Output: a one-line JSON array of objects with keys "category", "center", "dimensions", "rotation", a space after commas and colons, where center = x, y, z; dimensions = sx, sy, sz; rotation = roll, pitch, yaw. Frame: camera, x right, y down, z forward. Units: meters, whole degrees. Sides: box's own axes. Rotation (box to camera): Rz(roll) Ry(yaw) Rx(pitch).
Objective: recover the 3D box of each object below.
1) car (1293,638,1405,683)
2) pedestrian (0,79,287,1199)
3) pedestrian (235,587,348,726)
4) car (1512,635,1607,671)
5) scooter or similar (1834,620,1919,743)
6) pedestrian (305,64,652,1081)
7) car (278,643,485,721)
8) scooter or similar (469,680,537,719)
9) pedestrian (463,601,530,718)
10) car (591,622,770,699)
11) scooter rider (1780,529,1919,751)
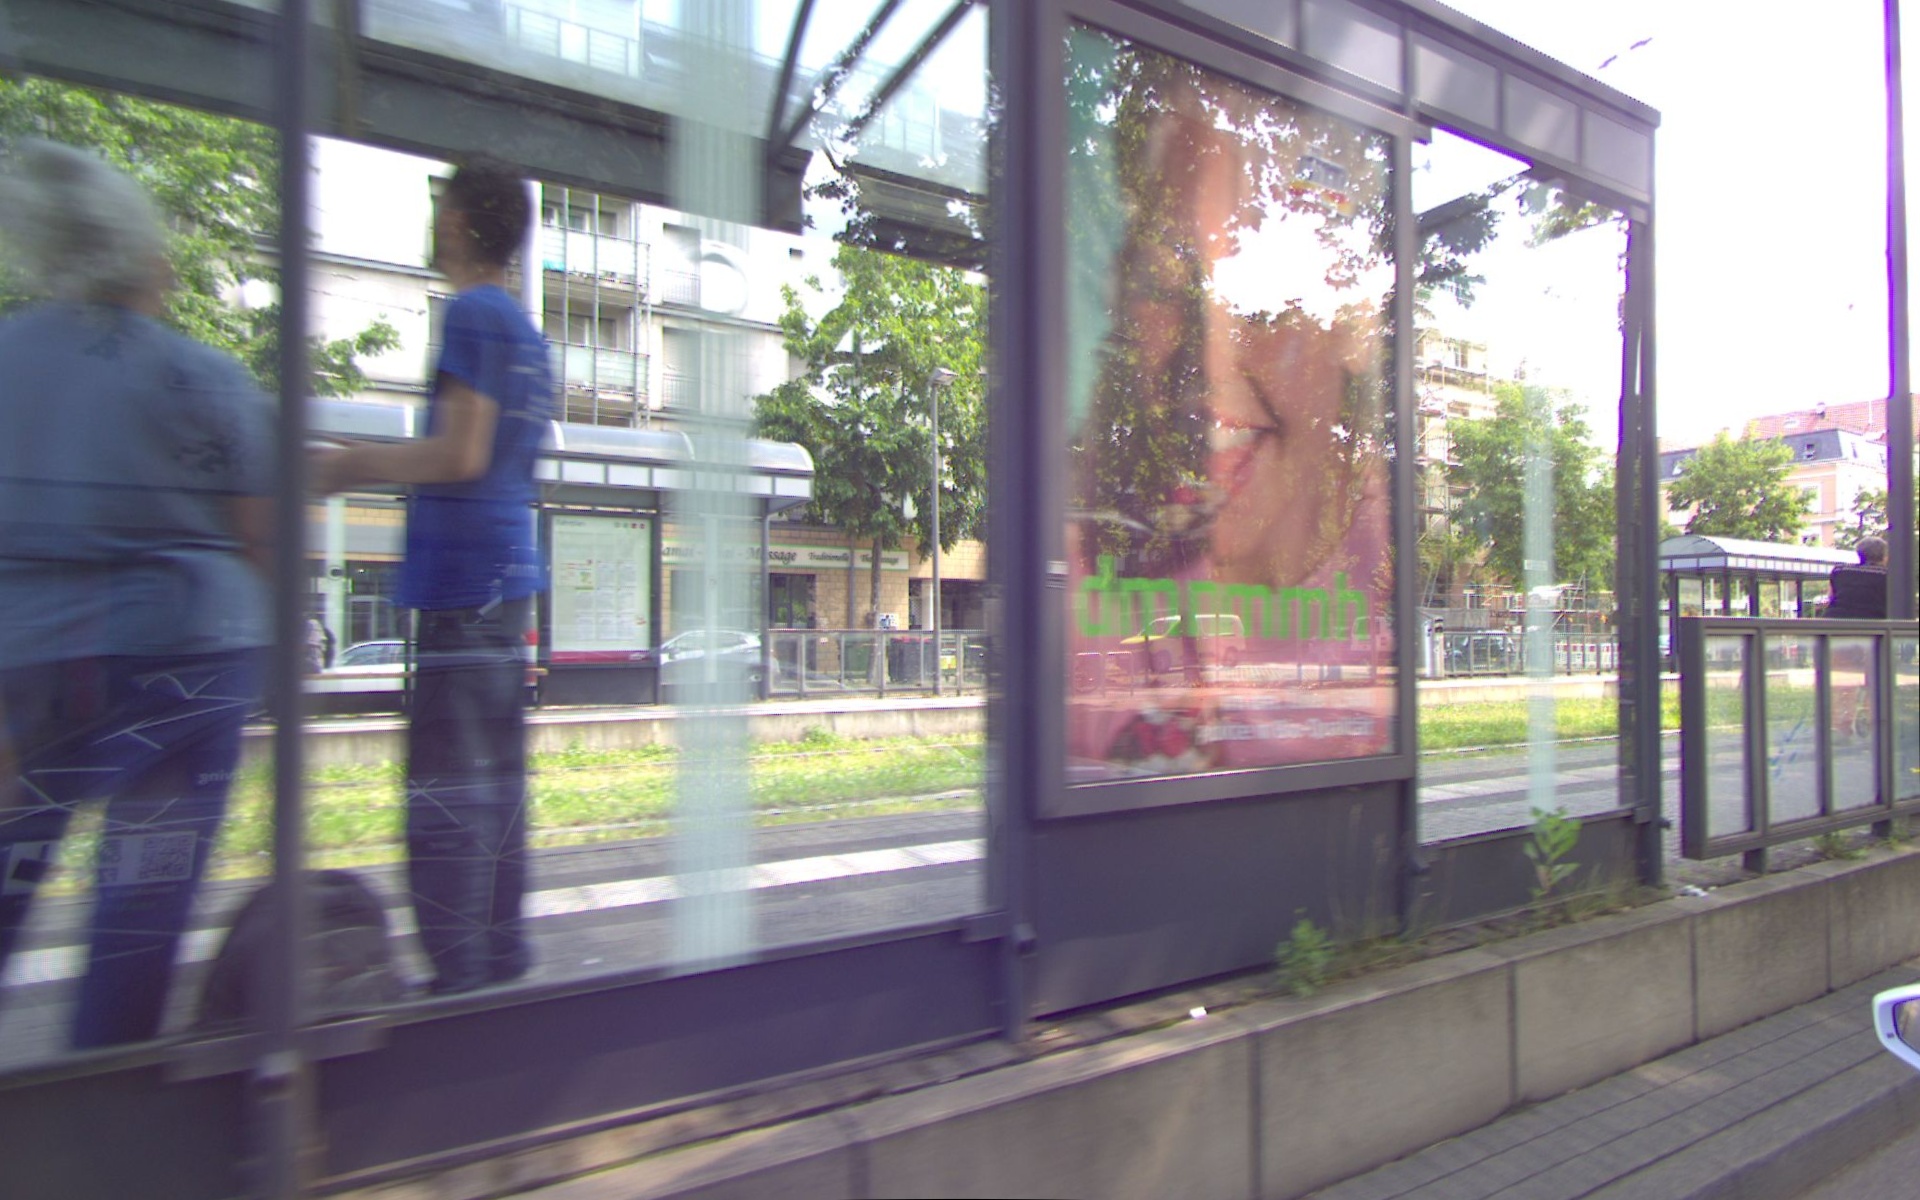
[{"category": "car", "center": [12.900, 1.972, 33.296], "dimensions": [3.435, 1.389, 1.712], "rotation": [1, -2, -30]}, {"category": "pedestrian", "center": [-1.443, 0.099, 1.628], "dimensions": [0.531, 1.663, 0.468], "rotation": [1, -2, -30]}, {"category": "pedestrian", "center": [-6.692, 0.567, 10.111], "dimensions": [0.868, 1.318, 0.826], "rotation": [1, -3, -30]}, {"category": "car", "center": [24.063, 2.106, 40.306], "dimensions": [3.660, 1.389, 1.712], "rotation": [1, -2, -30]}, {"category": "scooter or similar", "center": [7.649, 0.651, 8.223], "dimensions": [0.416, 0.968, 0.629], "rotation": [1, -2, -30]}, {"category": "pedestrian", "center": [-1.064, -0.053, 2.256], "dimensions": [0.464, 1.925, 0.535], "rotation": [-1, -2, 36]}, {"category": "car", "center": [-11.433, 1.577, 20.051], "dimensions": [3.435, 1.389, 1.712], "rotation": [1, -2, -30]}, {"category": "scooter or similar", "center": [-4.768, 1.036, 10.483], "dimensions": [0.611, 0.371, 0.407], "rotation": [1, -3, -30]}, {"category": "pedestrian", "center": [-5.096, 0.647, 11.042], "dimensions": [0.611, 1.229, 0.661], "rotation": [1, -3, -30]}, {"category": "car", "center": [-6.367, 1.334, 22.915], "dimensions": [3.647, 1.630, 1.712], "rotation": [1, -2, -30]}, {"category": "scooter rider", "center": [7.066, 0.307, 7.906], "dimensions": [0.890, 1.635, 0.651], "rotation": [1, -2, -30]}]
